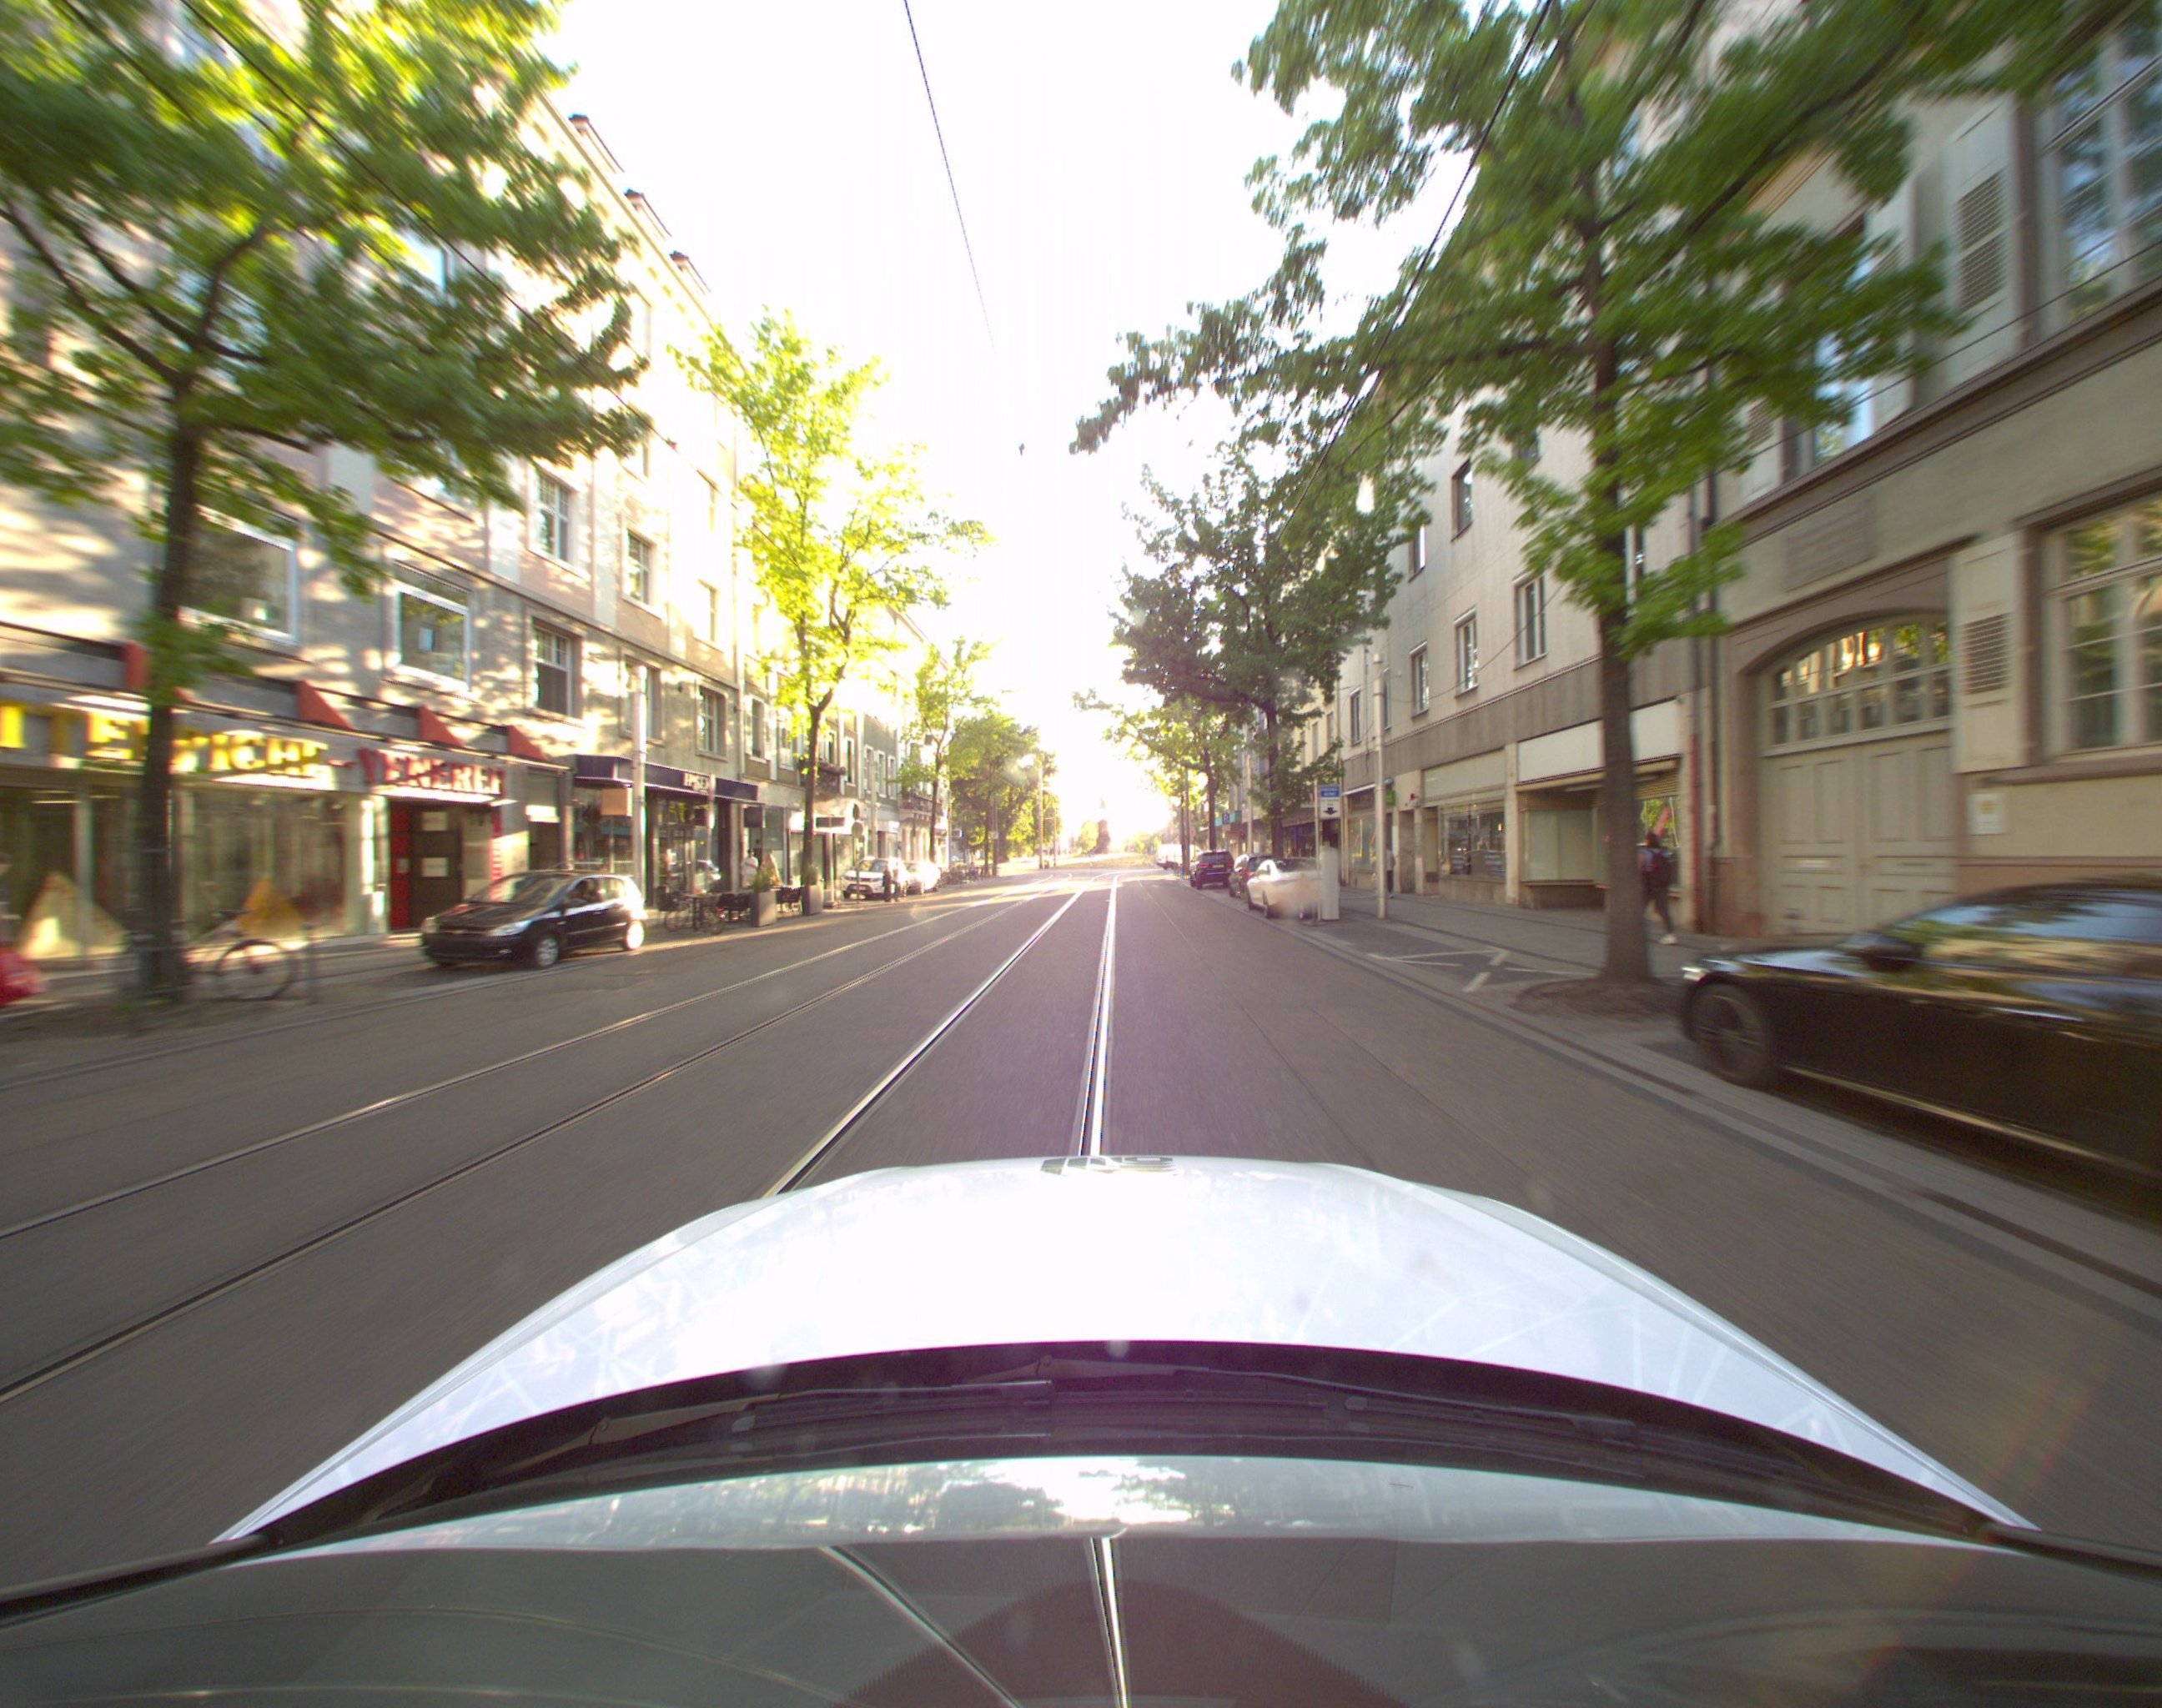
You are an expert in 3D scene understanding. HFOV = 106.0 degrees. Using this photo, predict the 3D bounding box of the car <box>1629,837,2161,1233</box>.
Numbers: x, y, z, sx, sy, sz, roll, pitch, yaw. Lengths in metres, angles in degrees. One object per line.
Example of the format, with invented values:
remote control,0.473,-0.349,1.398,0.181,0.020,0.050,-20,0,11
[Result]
car,5.118,0.693,3.907,1.826,1.478,4.763,-3,0,2

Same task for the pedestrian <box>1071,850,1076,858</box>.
pedestrian,-1.547,0.059,167.569,0.768,1.606,0.637,-1,0,-4

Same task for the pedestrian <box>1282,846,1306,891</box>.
pedestrian,8.234,0.550,31.541,0.641,1.670,0.787,-4,0,2

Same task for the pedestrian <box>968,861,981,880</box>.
pedestrian,-7.383,1.117,56.501,0.725,1.290,0.856,0,0,0

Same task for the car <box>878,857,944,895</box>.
car,-7.874,0.962,38.195,1.828,1.580,4.706,3,0,3

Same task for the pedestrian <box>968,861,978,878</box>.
pedestrian,-7.694,1.093,58.154,0.589,1.194,0.642,0,0,0

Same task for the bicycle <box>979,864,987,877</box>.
bicycle,-7.416,1.245,61.813,0.335,0.946,1.511,-1,0,3

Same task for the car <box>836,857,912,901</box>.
car,-8.399,0.961,33.428,1.828,1.580,4.119,3,0,3

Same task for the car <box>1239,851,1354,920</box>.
car,5.612,0.751,21.817,1.985,1.498,4.684,-4,0,3

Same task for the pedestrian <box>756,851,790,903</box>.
pedestrian,-10.732,0.790,28.392,0.719,1.760,1.090,-1,0,2

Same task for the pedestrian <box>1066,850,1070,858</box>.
pedestrian,-2.681,0.078,168.159,0.768,1.606,0.637,-1,0,-4

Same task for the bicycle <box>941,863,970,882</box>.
bicycle,-7.896,1.153,51.087,2.004,1.105,0.504,0,-1,37

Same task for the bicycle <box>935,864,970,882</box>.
bicycle,-7.848,1.161,49.626,2.014,1.105,0.501,1,-1,4

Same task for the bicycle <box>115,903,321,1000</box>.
bicycle,-10.162,1.132,9.629,1.807,1.065,0.439,0,0,-6

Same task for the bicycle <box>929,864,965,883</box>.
bicycle,-8.026,1.165,48.751,2.032,1.105,0.497,1,-1,-23

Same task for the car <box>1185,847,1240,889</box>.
car,6.270,0.652,39.266,1.930,1.759,4.682,-4,0,2

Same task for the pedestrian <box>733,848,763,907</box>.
pedestrian,-11.634,0.808,28.456,0.719,2.013,0.643,-1,0,2

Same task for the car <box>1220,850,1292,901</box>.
car,6.259,0.727,29.509,1.769,1.591,3.893,-4,0,2

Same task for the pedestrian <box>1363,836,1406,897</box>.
pedestrian,9.166,0.368,24.608,0.855,1.753,0.933,-4,0,2

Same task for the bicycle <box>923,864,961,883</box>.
bicycle,-8.091,1.129,47.527,2.117,1.105,0.497,1,-1,-23

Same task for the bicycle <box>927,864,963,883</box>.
bicycle,-8.054,1.149,48.165,2.032,1.105,0.497,1,-1,-23

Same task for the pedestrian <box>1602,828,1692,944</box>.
pedestrian,8.535,0.465,12.316,0.655,1.665,0.888,-3,0,1

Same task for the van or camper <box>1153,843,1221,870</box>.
van or camper,10.704,0.242,82.225,6.321,2.472,2.598,-1,0,-21

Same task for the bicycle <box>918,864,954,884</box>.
bicycle,-8.315,1.140,46.614,1.953,1.105,0.563,1,-1,-23

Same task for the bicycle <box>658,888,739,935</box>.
bicycle,-8.358,1.250,17.825,1.607,0.965,0.433,1,0,7

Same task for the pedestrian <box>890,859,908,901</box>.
pedestrian,-6.928,0.985,31.003,0.519,1.569,0.634,-1,-1,3

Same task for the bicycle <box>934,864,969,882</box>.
bicycle,-7.982,1.160,50.217,2.014,1.105,0.501,1,-1,4

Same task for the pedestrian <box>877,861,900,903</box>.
pedestrian,-7.134,1.042,30.198,0.617,1.509,0.730,-1,-1,3

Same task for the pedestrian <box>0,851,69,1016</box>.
pedestrian,-11.470,0.821,8.510,0.840,1.693,0.740,-1,0,1

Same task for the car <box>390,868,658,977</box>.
car,-8.921,1.007,13.499,1.659,1.428,3.829,2,0,2
